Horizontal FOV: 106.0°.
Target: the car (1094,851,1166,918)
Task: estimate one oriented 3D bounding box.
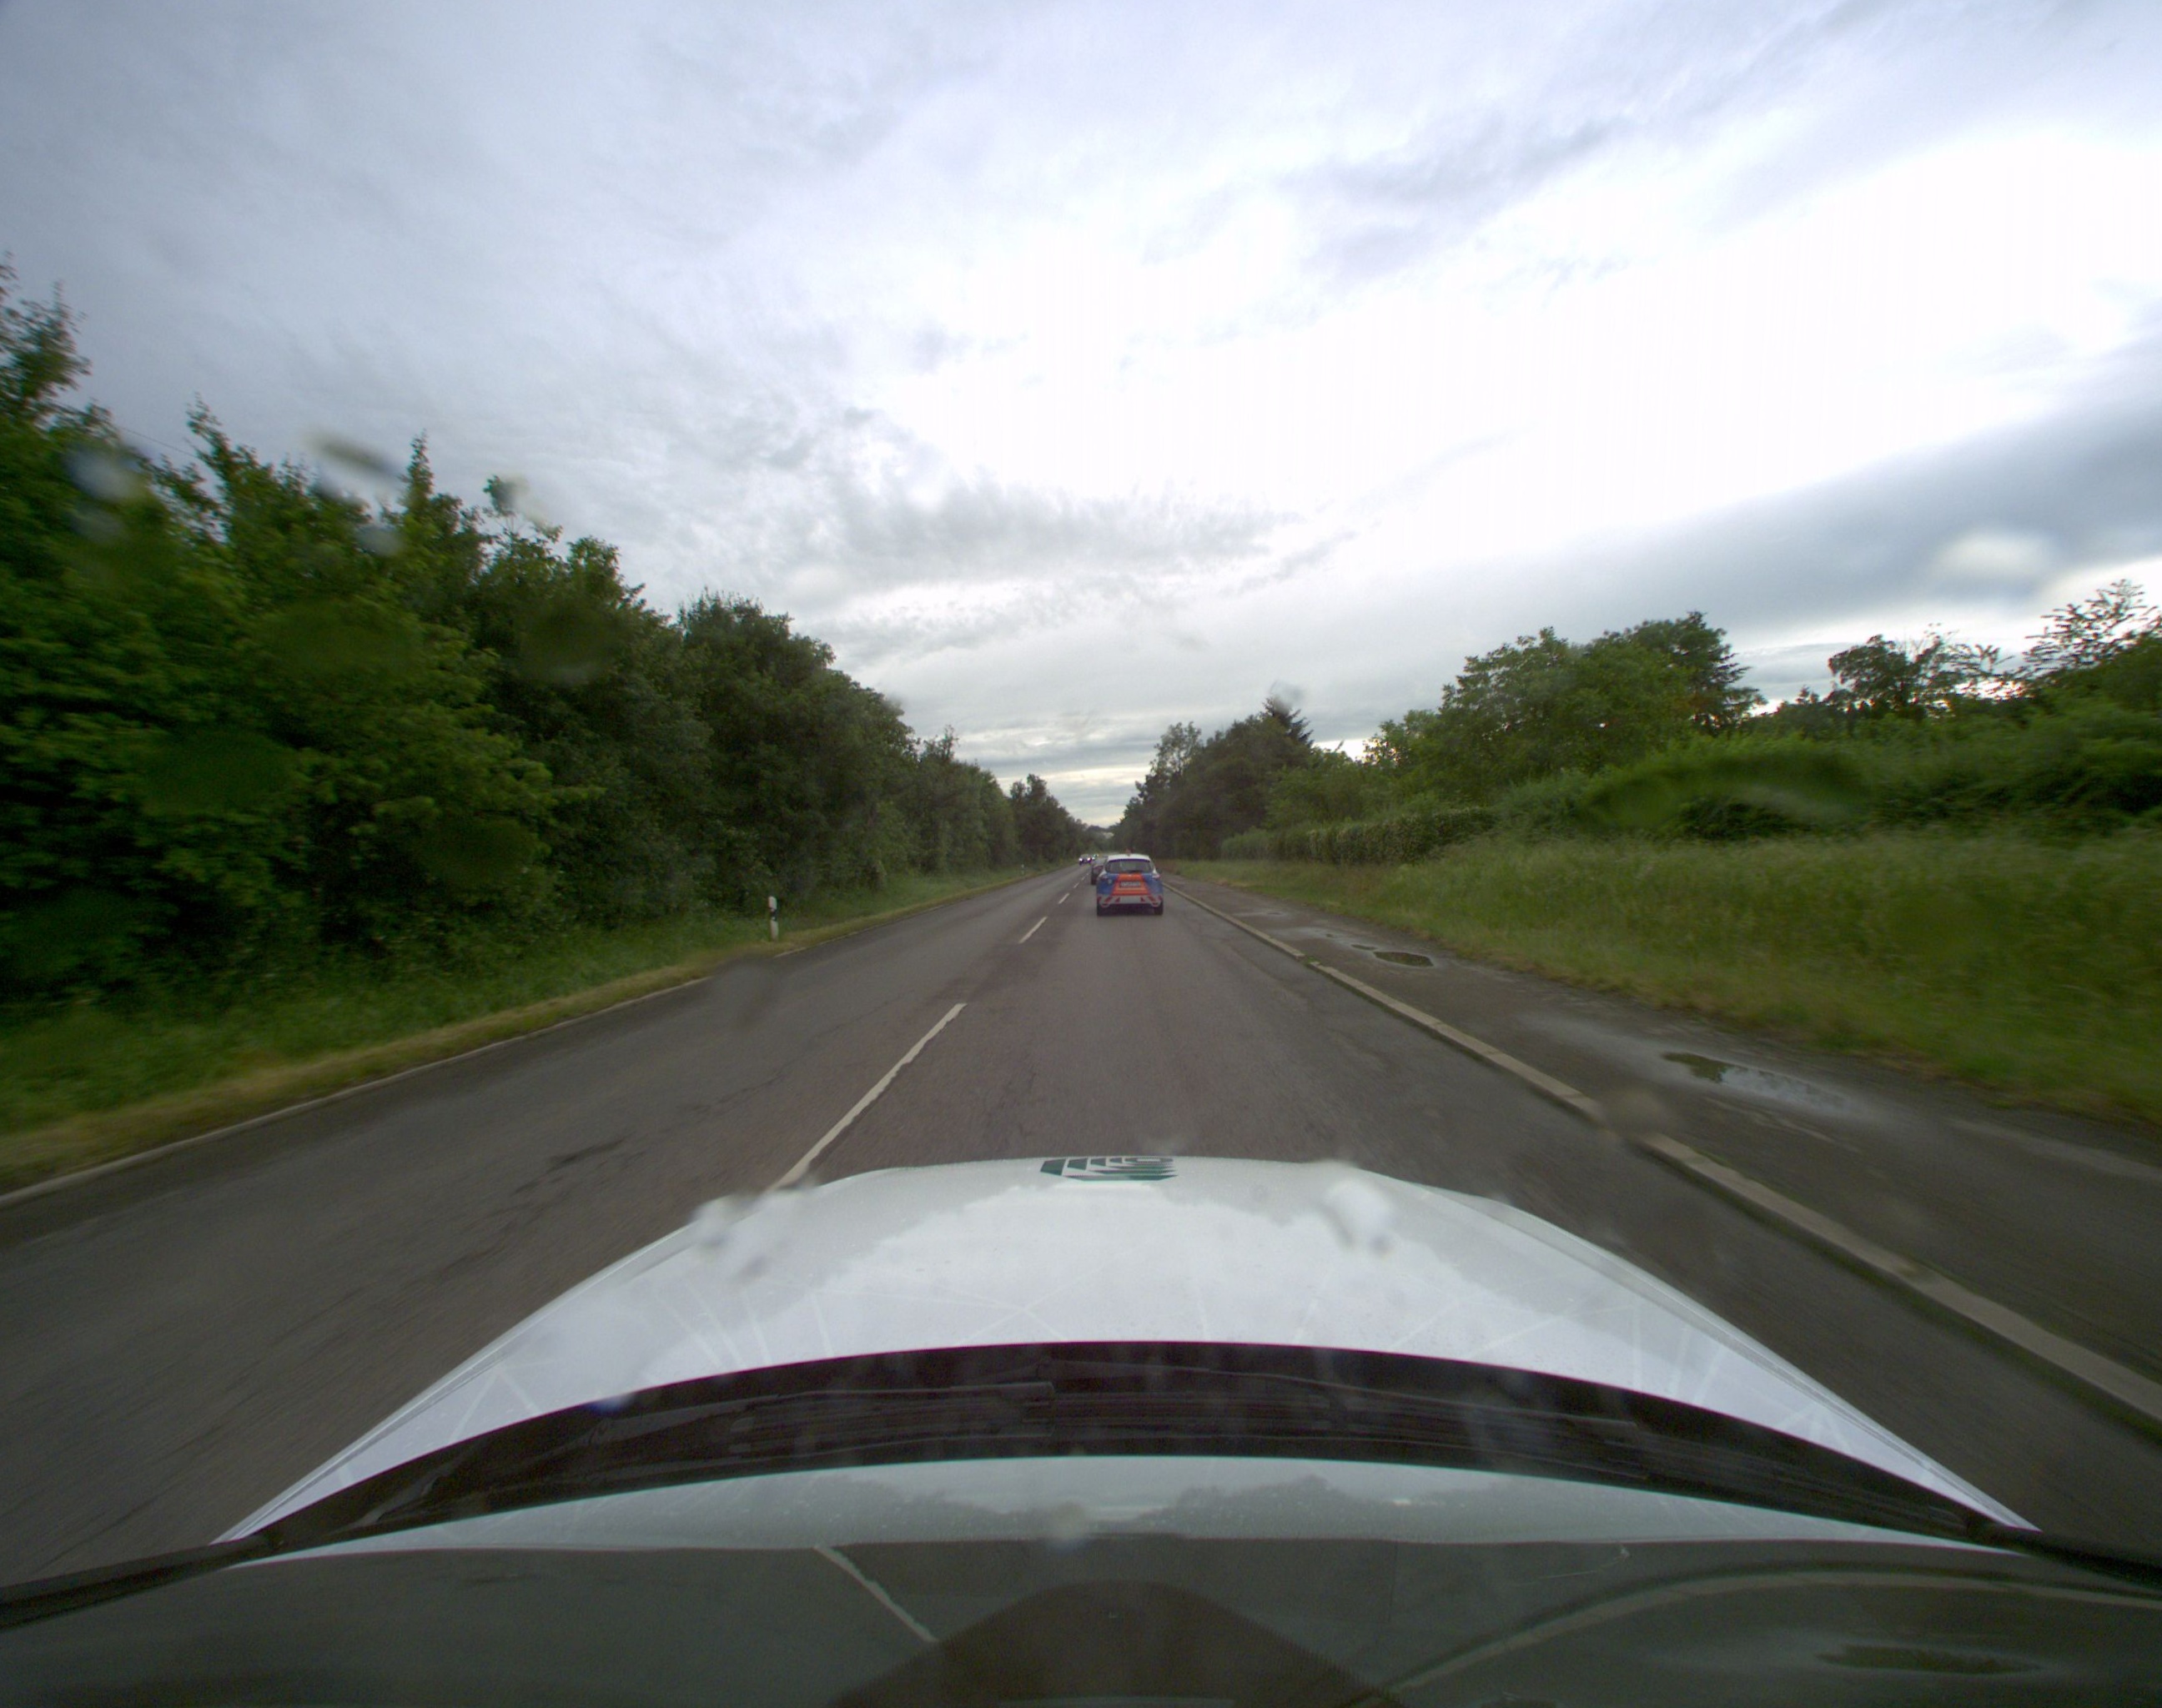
[{"bbox_3d":[1.275,0.744,21.958,1.745,1.555,3.794,-1,1,2],"label":"car"}]

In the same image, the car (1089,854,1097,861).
[{"bbox_3d":[2.735,0.823,184.801,1.704,1.399,4.151,-4,0,1],"label":"car"}]

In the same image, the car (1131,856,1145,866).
[{"bbox_3d":[8.579,1.069,122.133,1.986,1.376,4.002,-3,0,2],"label":"car"}]

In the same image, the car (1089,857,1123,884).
[{"bbox_3d":[1.317,0.826,42.074,1.592,1.287,3.478,-3,0,2],"label":"car"}]

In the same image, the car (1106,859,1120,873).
[{"bbox_3d":[4.173,1.521,106.215,1.782,1.720,4.002,-3,0,2],"label":"car"}]

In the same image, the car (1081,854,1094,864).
[{"bbox_3d":[1.055,0.791,129.738,1.898,1.556,4.517,-3,0,2],"label":"car"}]
